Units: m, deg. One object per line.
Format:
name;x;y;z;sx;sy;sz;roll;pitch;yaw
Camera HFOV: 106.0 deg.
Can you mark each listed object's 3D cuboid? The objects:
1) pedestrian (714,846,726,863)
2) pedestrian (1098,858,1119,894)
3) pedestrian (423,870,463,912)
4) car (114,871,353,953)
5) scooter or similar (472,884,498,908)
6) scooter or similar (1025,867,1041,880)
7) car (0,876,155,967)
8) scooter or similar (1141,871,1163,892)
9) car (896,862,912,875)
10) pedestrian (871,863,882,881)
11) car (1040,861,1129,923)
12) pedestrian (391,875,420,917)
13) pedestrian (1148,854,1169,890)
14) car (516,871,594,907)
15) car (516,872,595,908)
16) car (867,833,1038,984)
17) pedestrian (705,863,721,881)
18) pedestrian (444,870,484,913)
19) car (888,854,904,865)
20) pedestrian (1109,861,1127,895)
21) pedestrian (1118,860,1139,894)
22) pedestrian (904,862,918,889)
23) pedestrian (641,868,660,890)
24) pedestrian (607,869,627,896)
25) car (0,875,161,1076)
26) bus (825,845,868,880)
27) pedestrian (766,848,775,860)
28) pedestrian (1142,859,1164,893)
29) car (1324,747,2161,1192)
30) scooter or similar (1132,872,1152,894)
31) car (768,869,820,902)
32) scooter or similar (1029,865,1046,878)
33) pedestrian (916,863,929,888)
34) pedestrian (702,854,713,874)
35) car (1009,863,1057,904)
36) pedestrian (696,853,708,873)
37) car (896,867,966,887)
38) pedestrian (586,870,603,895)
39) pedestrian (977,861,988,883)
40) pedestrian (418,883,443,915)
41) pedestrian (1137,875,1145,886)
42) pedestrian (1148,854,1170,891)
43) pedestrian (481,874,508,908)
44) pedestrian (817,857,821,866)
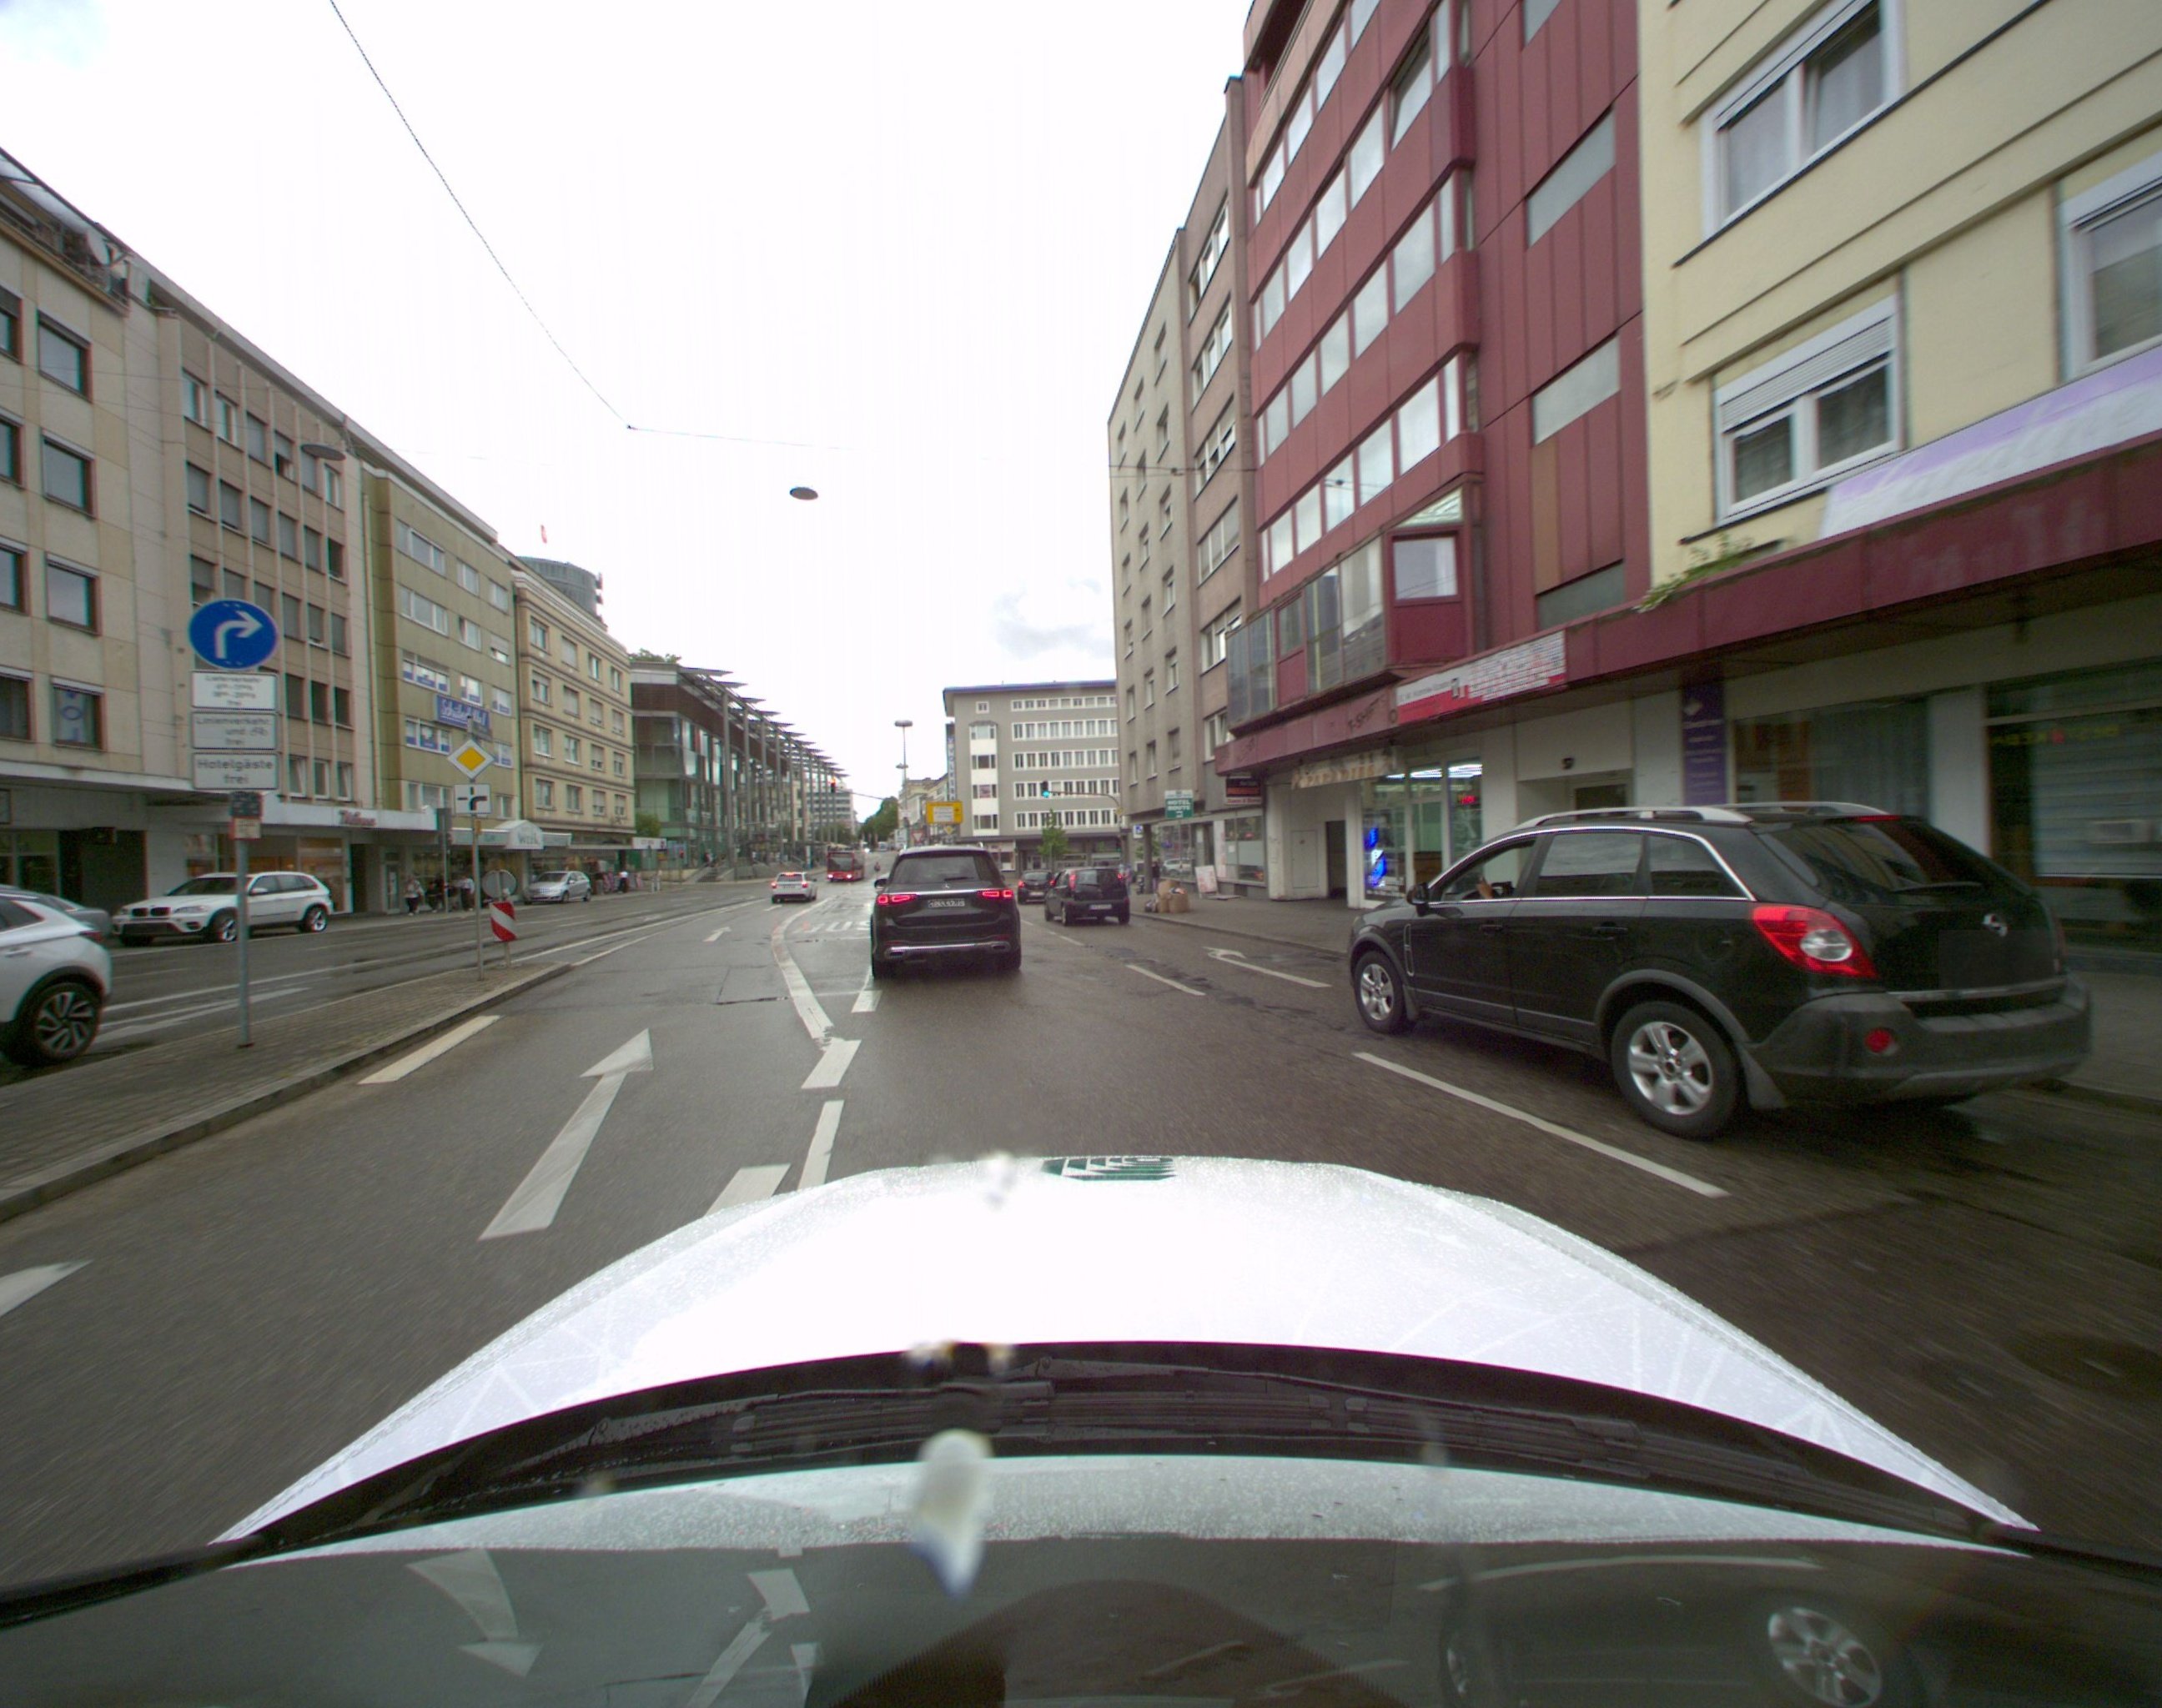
pedestrian;-36.859;0.023;83.175;1.041;1.713;1.002;-1;-1;-17
pedestrian;1.317;1.048;38.969;0.620;1.692;0.786;-4;-3;23
pedestrian;-27.018;1.550;34.507;0.953;1.695;1.082;0;0;-13
car;-22.098;1.414;21.605;1.850;1.827;4.945;-1;-1;-11
scooter or similar;-26.707;1.870;36.490;0.737;1.054;0.698;0;0;-14
scooter or similar;-4.460;1.830;76.416;1.372;1.187;0.545;-2;-1;7
car;-20.803;1.284;15.304;1.865;1.608;4.862;-1;-1;-11
scooter or similar;3.584;1.414;41.137;0.771;0.986;1.043;-3;-4;-12
car;-21.562;1.762;99.428;1.737;1.527;3.985;0;-1;-11
pedestrian;-21.617;1.855;86.142;0.953;1.886;0.808;0;-1;-5
car;-0.005;0.941;20.940;1.716;1.420;3.757;-1;-2;-9
pedestrian;-26.037;1.620;31.408;0.642;1.574;0.609;-1;-1;-12
pedestrian;3.840;0.920;40.340;0.834;1.723;0.616;-3;-3;-4
car;-25.864;1.680;40.213;1.700;1.563;4.187;-1;-1;-10
car;-25.896;1.745;40.318;1.849;1.550;4.381;1;0;-12
car;-2.207;0.669;12.633;2.091;1.817;4.768;-2;0;-15
pedestrian;-35.977;1.751;79.577;1.031;1.713;1.012;-1;-1;15
pedestrian;-25.554;1.553;33.732;0.953;1.714;1.085;0;0;-13
car;-29.551;0.920;130.117;2.425;1.780;5.132;0;-1;-12
pedestrian;1.896;1.229;41.758;0.539;1.637;0.834;-5;-4;-12
pedestrian;2.396;1.161;41.153;0.736;1.635;0.600;-6;-5;29
pedestrian;-10.854;1.350;52.058;0.783;1.711;0.705;0;-2;-7
pedestrian;-32.349;1.893;61.202;0.871;1.586;1.151;-1;-1;-9
pedestrian;-29.344;1.796;51.550;0.764;1.628;0.851;-1;-1;35
car;-9.404;0.995;5.617;1.998;1.551;4.404;0;0;-17
bus;-24.799;0.967;86.988;2.922;3.321;18.404;-1;-1;-11
pedestrian;-44.444;-0.047;116.506;1.041;1.713;1.002;-1;-1;-17
pedestrian;3.863;1.179;43.690;1.030;1.722;0.839;-3;-1;5
car;3.625;0.442;5.583;1.909;1.785;4.283;-1;0;-13
scooter or similar;3.261;1.568;43.757;0.964;1.109;0.656;-4;-1;7
car;-13.924;1.489;39.727;1.794;1.415;4.611;-1;0;-12
scooter or similar;-4.205;1.671;78.269;1.488;1.257;0.932;-1;-3;7
pedestrian;-10.508;1.436;54.052;0.755;1.692;0.691;0;-2;-7
pedestrian;-38.083;1.044;83.089;0.876;1.980;0.846;-1;-1;-12
car;-2.129;1.235;35.562;1.946;1.574;3.994;0;1;-4
pedestrian;-38.179;0.898;82.009;0.881;1.980;0.970;-1;-1;-12
car;-11.170;1.704;60.794;4.712;1.446;1.795;-1;-1;7
pedestrian;-30.446;1.750;50.978;0.786;1.537;0.678;0;-1;-14
pedestrian;-8.130;1.490;67.132;0.832;1.779;0.614;0;-1;-18
pedestrian;-26.649;1.846;33.391;0.535;1.249;0.717;0;0;-13
pedestrian;3.243;1.445;43.789;0.369;0.571;0.459;-4;-1;7
pedestrian;4.015;0.959;41.996;0.835;1.865;0.656;-4;-4;-8
pedestrian;-26.895;1.681;37.360;0.667;1.484;1.060;0;0;-13
pedestrian;-38.297;1.048;118.906;0.510;1.340;0.418;0;-1;-12
